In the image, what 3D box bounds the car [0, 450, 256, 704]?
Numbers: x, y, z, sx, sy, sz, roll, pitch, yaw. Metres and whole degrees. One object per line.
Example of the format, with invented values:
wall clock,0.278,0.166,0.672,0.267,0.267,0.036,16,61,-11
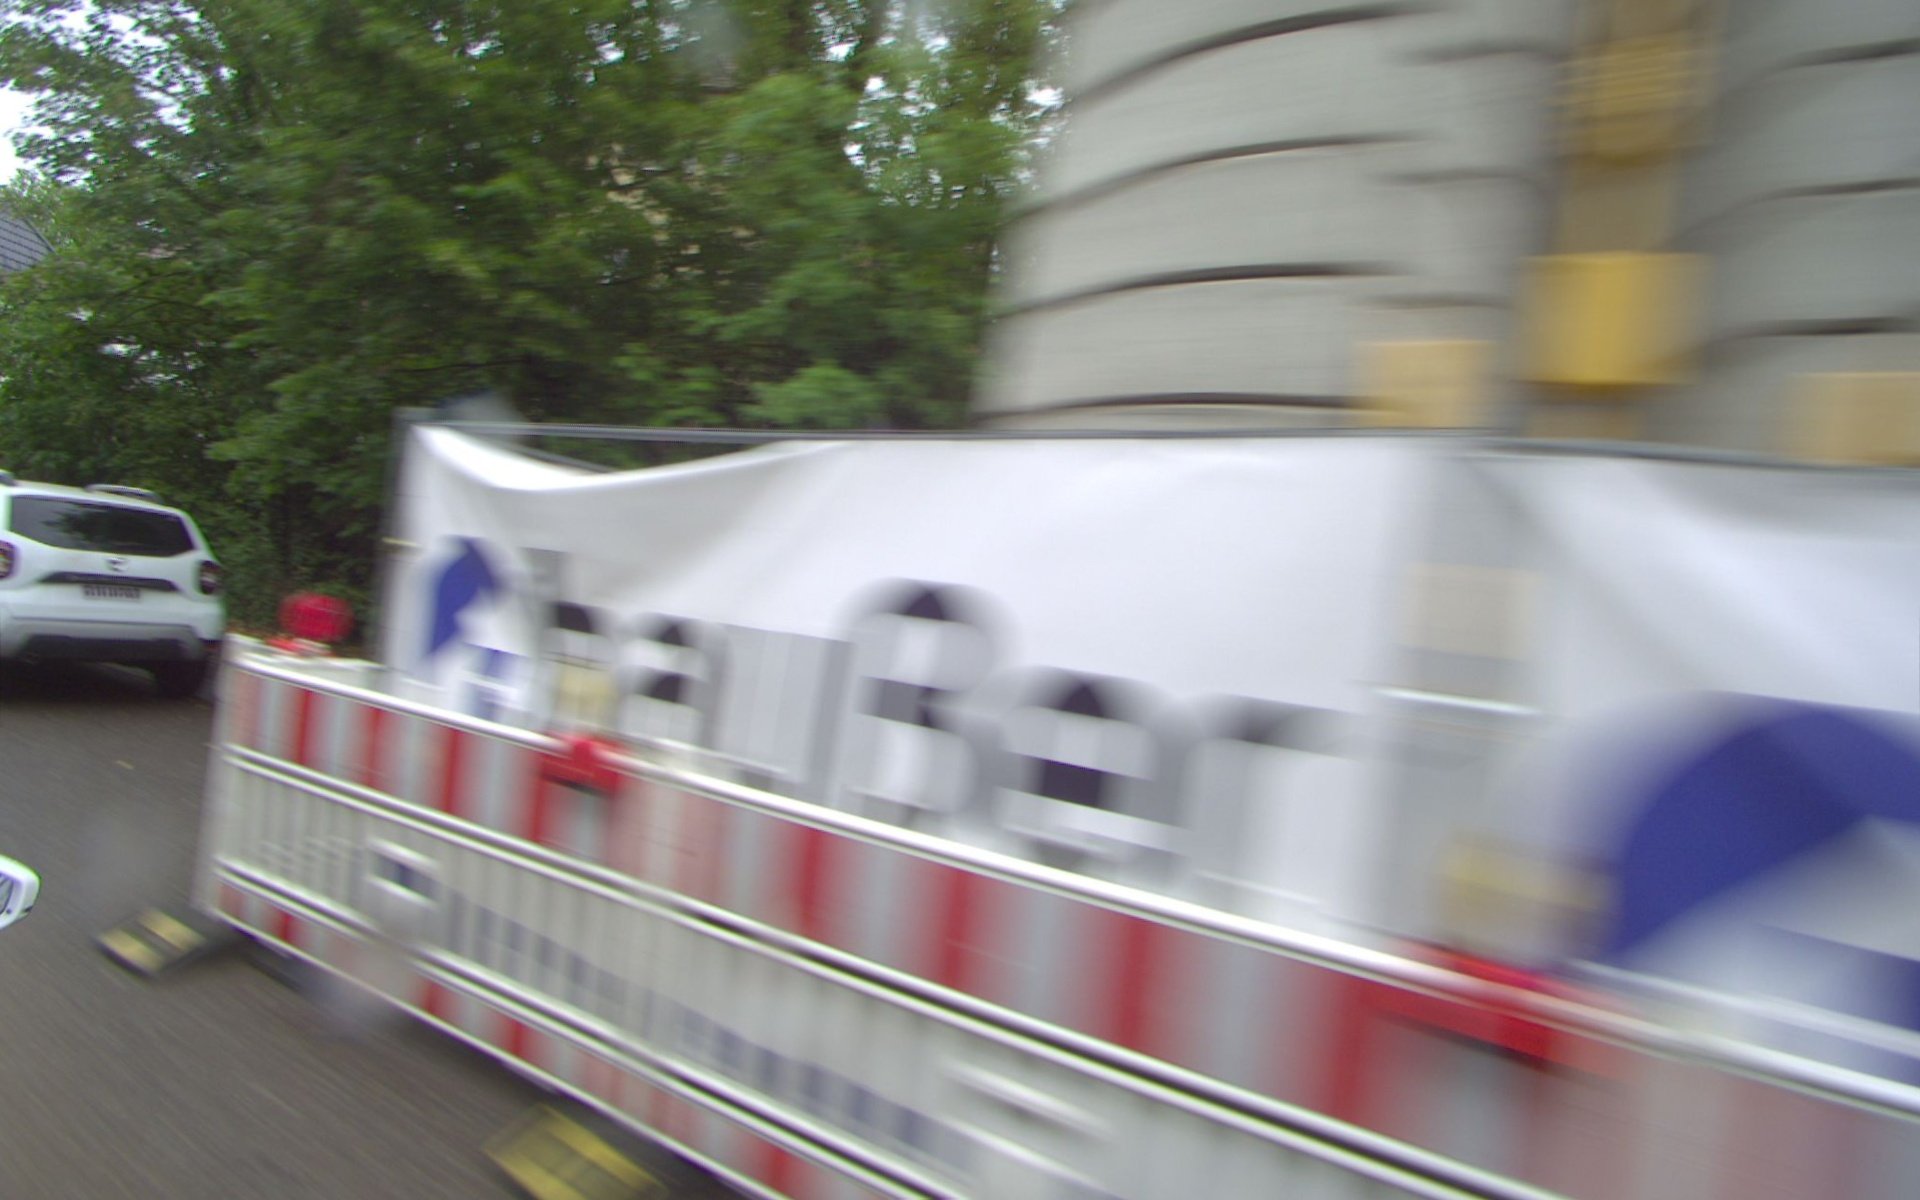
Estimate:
car,-8.135,-0.326,8.503,4.425,1.726,1.748,7,-1,30
